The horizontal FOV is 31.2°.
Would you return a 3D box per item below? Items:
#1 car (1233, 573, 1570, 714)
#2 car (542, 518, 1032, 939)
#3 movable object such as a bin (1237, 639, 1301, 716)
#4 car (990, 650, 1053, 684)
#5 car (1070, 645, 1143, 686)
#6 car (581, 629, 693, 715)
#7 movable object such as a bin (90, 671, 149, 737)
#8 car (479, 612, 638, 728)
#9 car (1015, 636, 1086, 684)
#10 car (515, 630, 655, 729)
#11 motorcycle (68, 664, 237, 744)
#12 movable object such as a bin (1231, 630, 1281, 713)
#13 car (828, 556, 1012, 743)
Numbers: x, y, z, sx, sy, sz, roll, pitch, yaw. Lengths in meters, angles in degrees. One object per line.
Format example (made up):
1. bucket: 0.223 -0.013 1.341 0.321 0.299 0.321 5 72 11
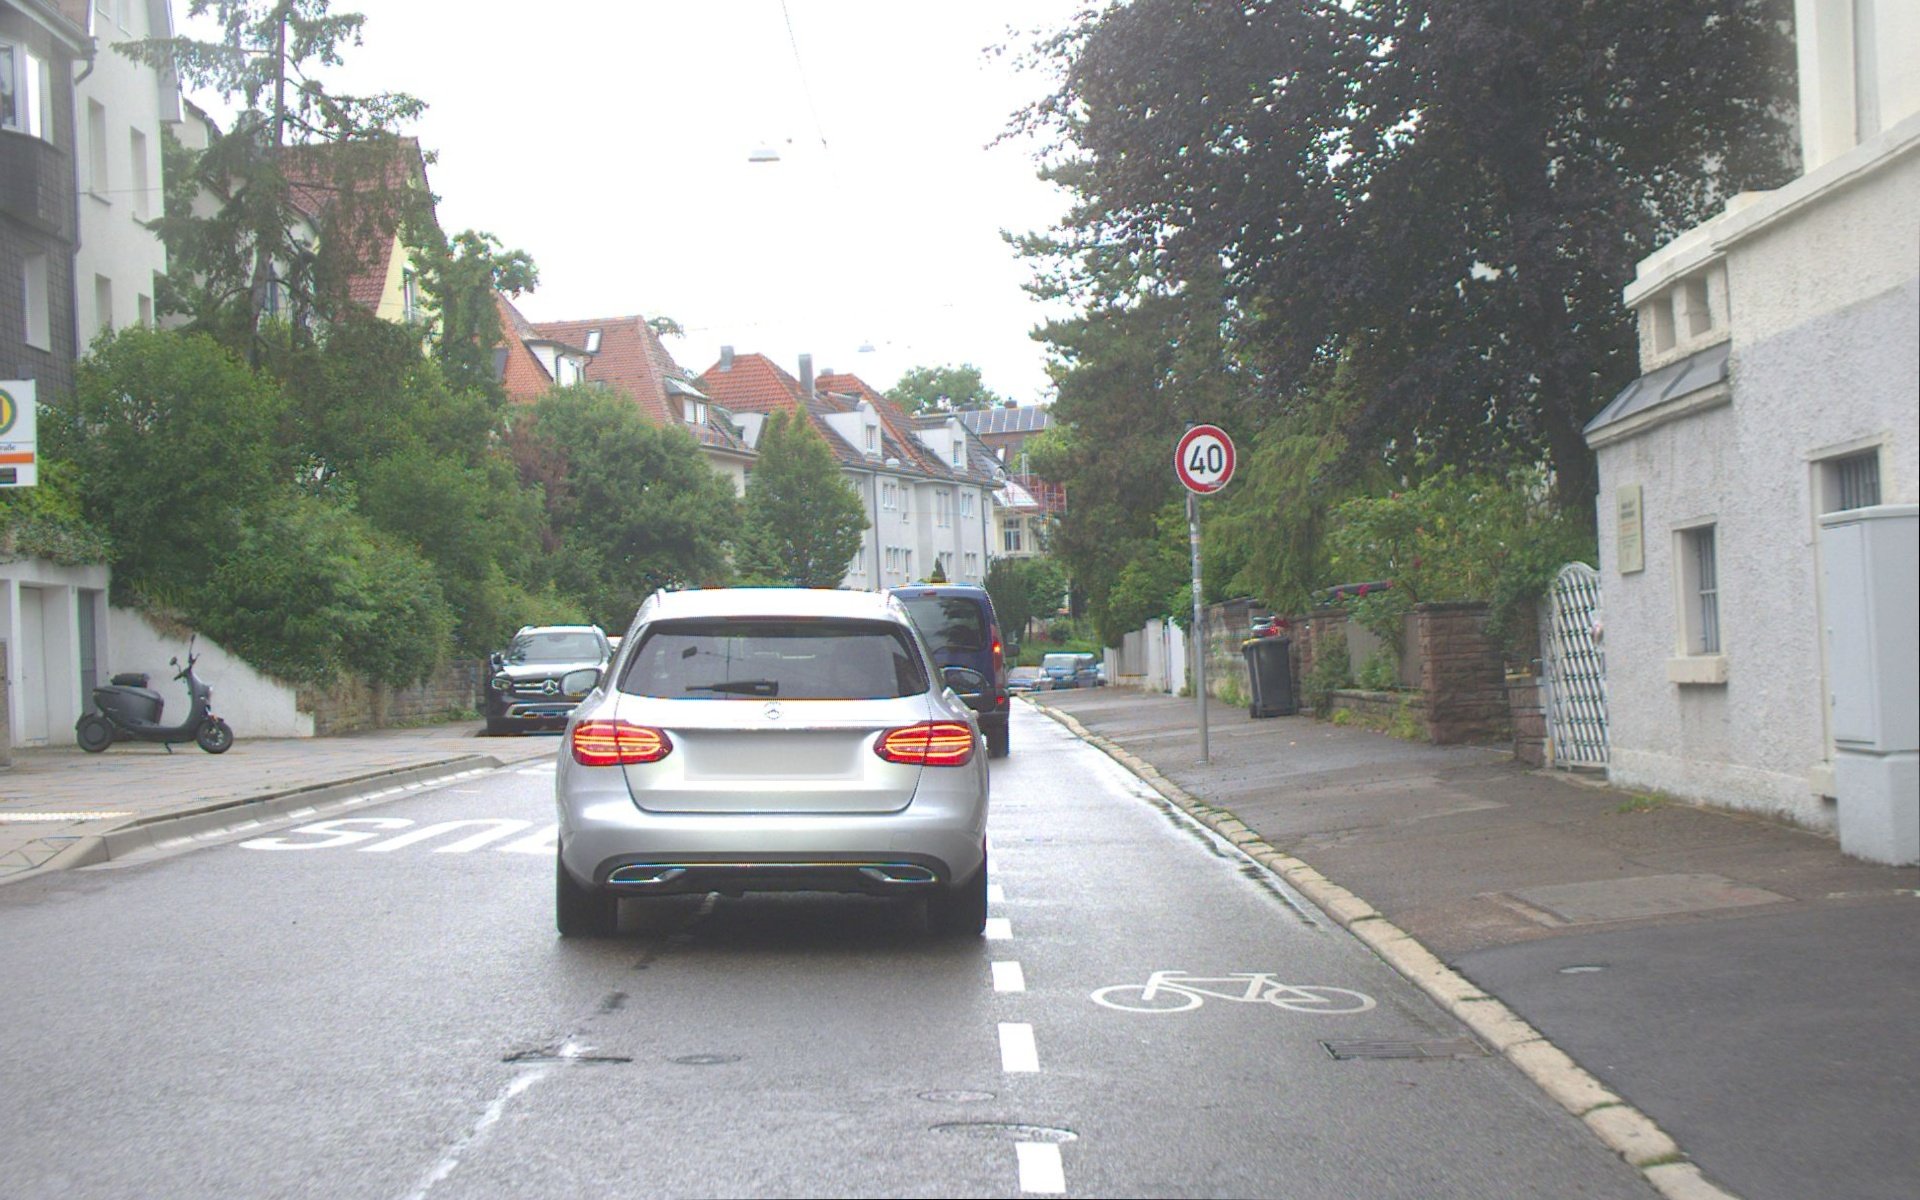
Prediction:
1. car: 5.548 0.536 43.576 3.987 1.634 1.918 -1 1 0
2. car: -0.742 0.506 14.900 1.816 1.551 4.000 -1 -1 -3
3. movable object such as a bin: 3.567 0.893 39.678 0.651 0.853 0.503 -1 1 -2
4. car: 2.625 2.844 146.375 1.644 1.412 4.609 -1 -1 14
5. car: 6.807 3.045 159.593 1.995 1.683 4.672 -1 1 21
6. car: -6.147 1.355 65.741 1.756 1.442 4.416 -1 1 -1
7. movable object such as a bin: -11.753 1.454 48.082 0.620 0.886 0.488 -2 1 -44
8. car: -5.932 1.025 51.223 1.893 1.617 4.379 -1 -1 -1
9. car: 4.029 2.688 152.754 1.831 2.049 5.005 -1 -2 17
10. car: -6.099 1.275 56.319 1.893 1.442 3.814 -1 1 -1
11. motorcycle: -9.264 1.193 39.481 1.794 0.900 0.603 0 -1 -1
12. movable object such as a bin: 3.471 0.836 40.344 0.494 0.952 0.503 -1 1 -2
13. car: -0.385 0.567 37.435 1.843 1.897 3.999 -1 -2 1
